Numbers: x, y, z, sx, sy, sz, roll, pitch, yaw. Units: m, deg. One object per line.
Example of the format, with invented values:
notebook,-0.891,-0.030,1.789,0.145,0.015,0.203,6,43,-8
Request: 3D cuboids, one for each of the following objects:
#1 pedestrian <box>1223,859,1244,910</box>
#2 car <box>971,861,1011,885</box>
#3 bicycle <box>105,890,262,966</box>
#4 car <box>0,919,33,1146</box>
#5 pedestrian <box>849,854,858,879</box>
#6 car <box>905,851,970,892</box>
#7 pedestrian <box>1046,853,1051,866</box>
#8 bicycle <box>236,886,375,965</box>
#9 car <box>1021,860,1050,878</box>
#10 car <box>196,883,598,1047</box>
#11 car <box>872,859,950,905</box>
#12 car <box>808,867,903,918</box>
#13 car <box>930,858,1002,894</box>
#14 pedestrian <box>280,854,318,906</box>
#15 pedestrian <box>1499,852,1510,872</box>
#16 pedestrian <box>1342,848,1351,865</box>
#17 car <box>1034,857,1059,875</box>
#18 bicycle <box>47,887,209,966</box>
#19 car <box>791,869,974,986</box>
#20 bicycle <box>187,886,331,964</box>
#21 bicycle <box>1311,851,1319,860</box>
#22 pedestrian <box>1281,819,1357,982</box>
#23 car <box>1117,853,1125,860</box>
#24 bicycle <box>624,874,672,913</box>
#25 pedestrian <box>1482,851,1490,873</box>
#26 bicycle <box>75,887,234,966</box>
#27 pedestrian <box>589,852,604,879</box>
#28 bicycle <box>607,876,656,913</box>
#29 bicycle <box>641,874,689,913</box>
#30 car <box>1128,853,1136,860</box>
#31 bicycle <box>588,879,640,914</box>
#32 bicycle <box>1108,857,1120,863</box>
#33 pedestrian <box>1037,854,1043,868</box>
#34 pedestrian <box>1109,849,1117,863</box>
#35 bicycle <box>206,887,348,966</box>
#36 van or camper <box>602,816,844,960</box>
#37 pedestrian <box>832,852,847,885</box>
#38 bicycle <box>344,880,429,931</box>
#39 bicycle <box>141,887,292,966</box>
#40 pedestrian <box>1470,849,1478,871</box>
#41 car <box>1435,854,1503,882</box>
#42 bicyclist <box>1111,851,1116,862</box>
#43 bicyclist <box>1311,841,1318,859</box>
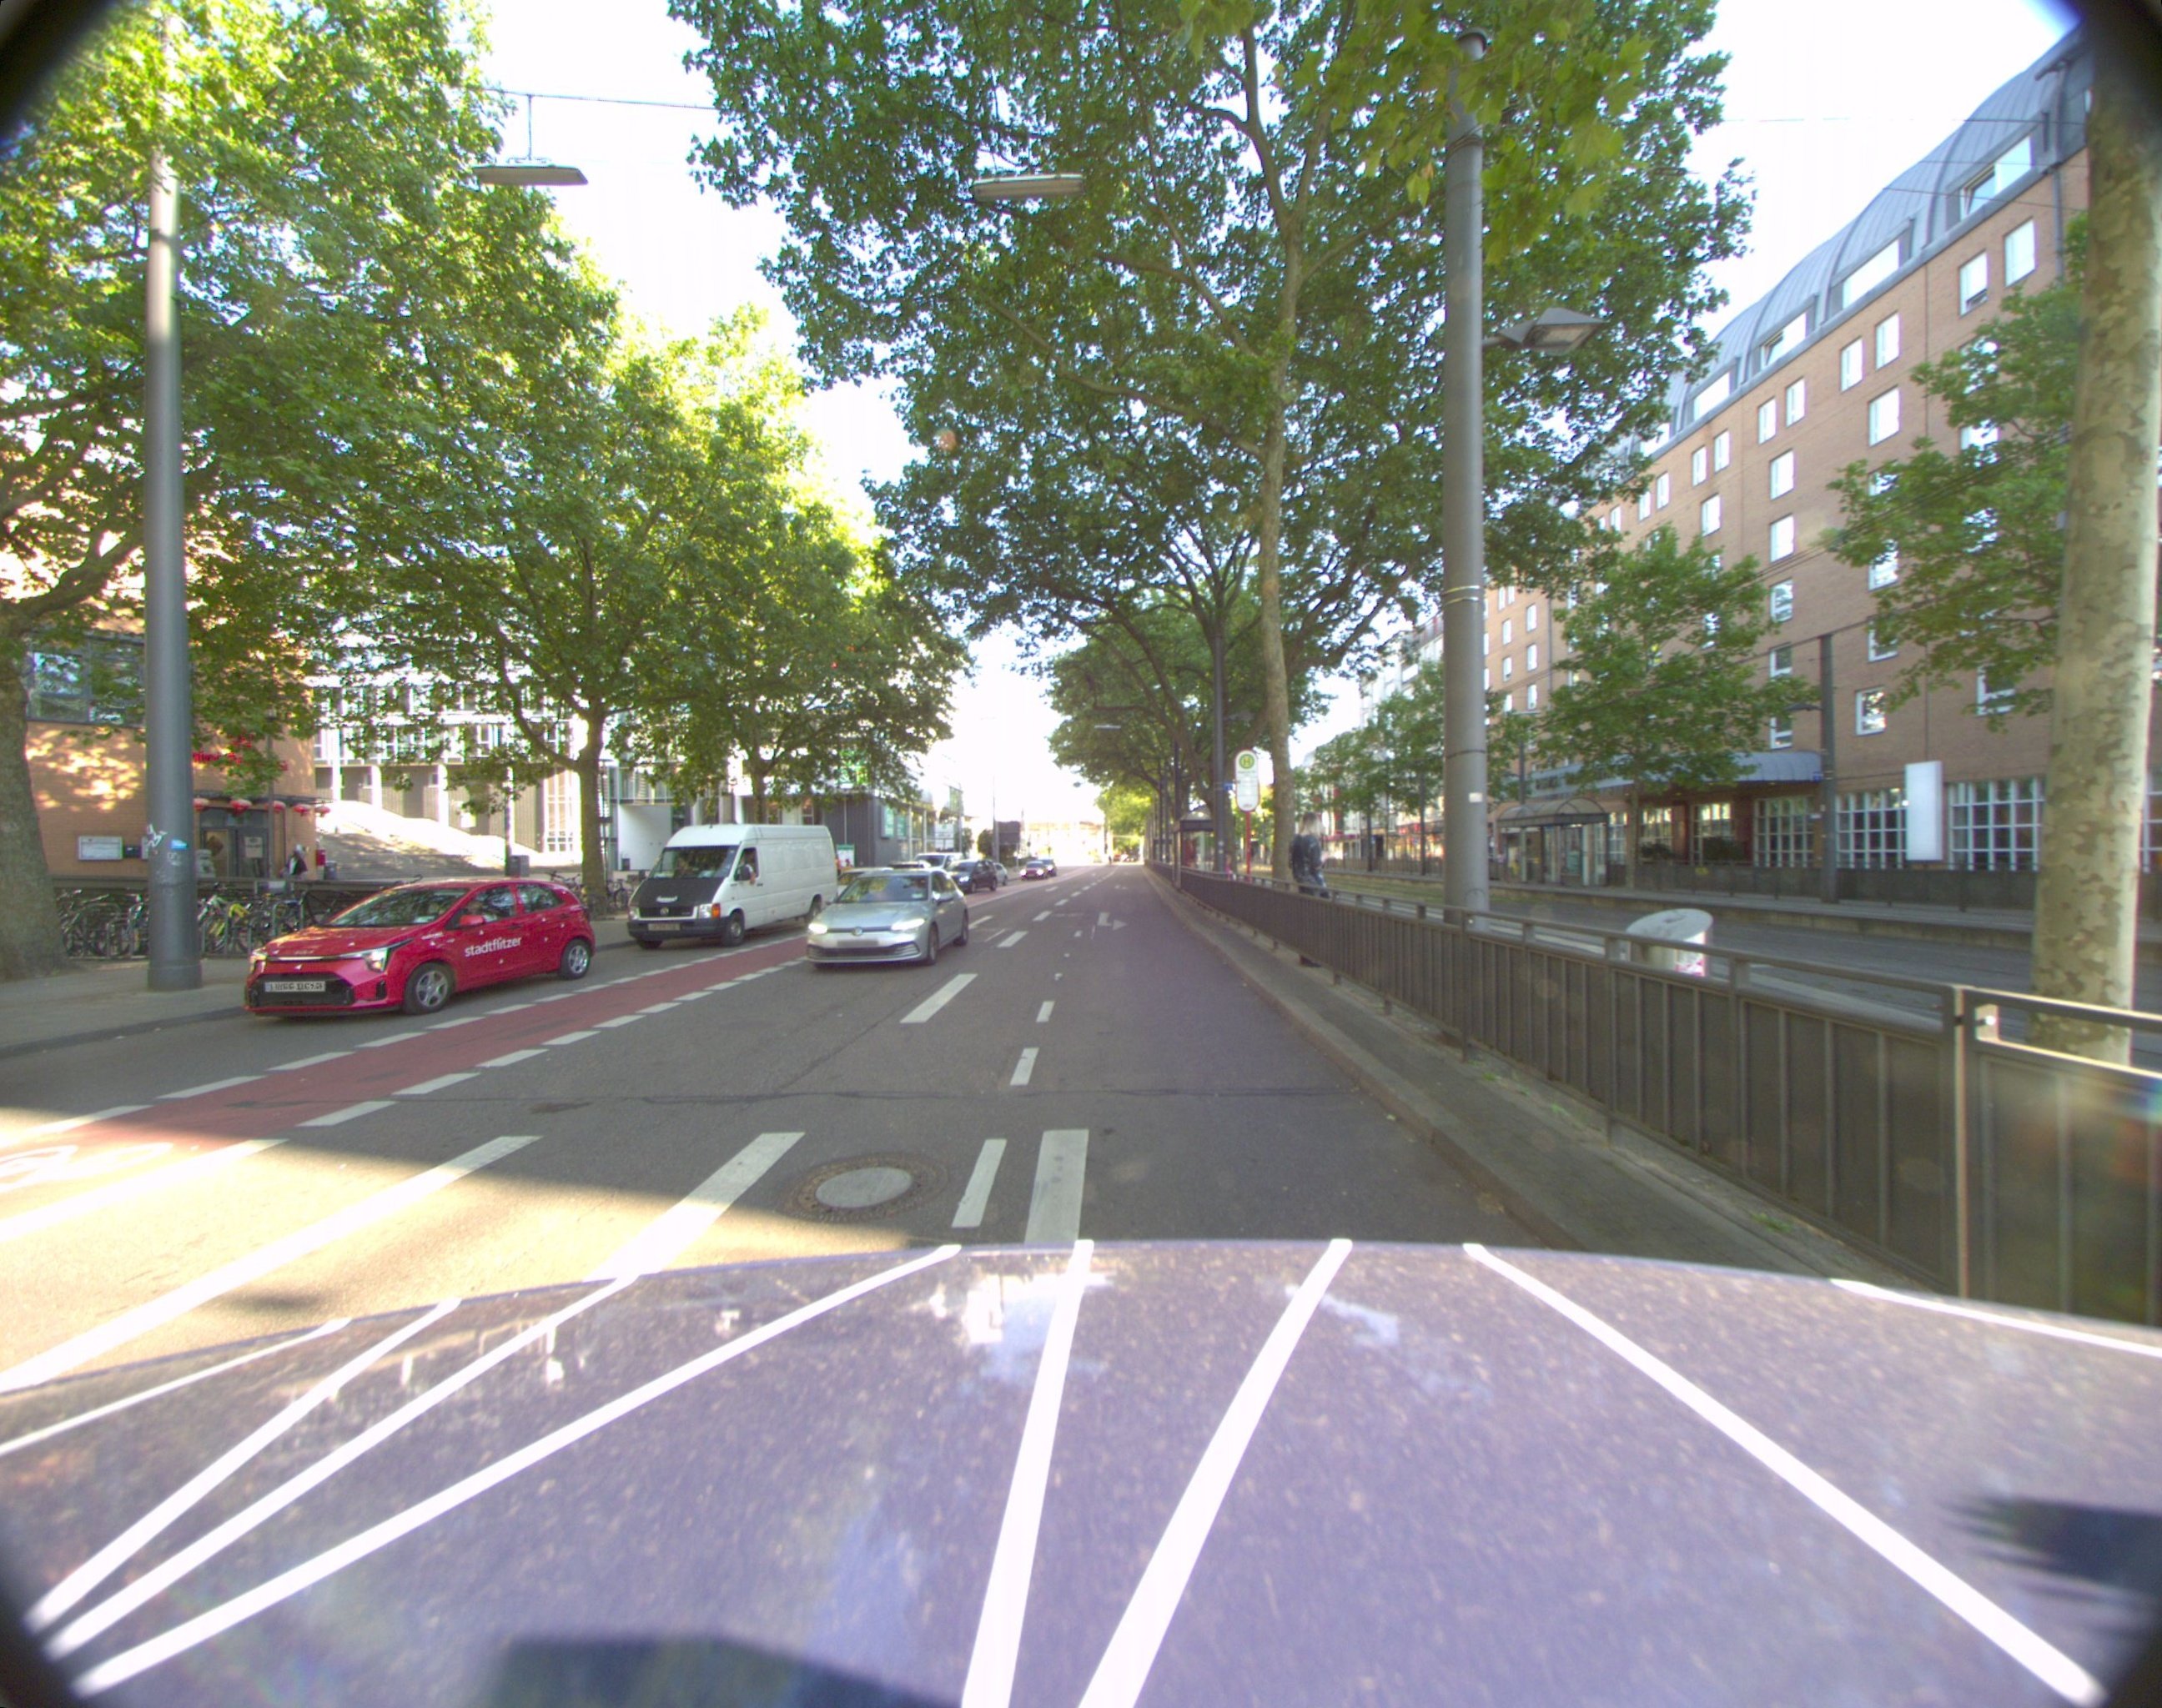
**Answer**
pedestrian,3.932,0.780,19.627,0.500,1.308,0.419,0,1,8
car,-5.554,1.172,47.323,1.801,1.369,4.001,0,0,3
bicycle,-15.426,1.238,13.137,0.485,1.118,1.850,0,0,1
car,-7.972,1.188,2.999,1.743,1.476,4.251,-1,0,0
pedestrian,-12.739,0.678,42.504,0.301,1.367,0.502,-1,1,4
car,-7.533,0.865,40.409,1.965,1.983,4.960,-1,0,7
pedestrian,-4.290,0.710,100.847,0.611,1.644,0.583,-1,1,1
bicycle,-13.318,1.195,13.132,0.482,1.187,1.850,0,0,1
car,-3.549,1.152,60.103,1.801,1.369,4.001,0,0,3
car,-7.949,1.173,9.365,1.606,1.449,3.651,-1,0,0
car,-6.723,1.068,30.519,1.818,1.610,4.229,-1,0,5
car,-7.215,1.194,24.756,1.682,1.420,4.001,-1,0,3
car,-5.537,1.017,37.088,1.964,1.610,4.335,-1,0,14
pedestrian,-30.988,1.027,30.114,0.875,2.025,0.586,0,1,6
pedestrian,30.689,0.589,55.038,0.519,1.427,0.516,0,1,4
pedestrian,31.531,0.300,90.119,0.806,2.002,0.763,-1,1,1
car,-3.002,1.045,67.451,1.801,1.438,4.001,0,0,3
bicycle,-16.387,1.199,13.142,0.435,1.187,1.850,0,0,1
car,-2.976,1.036,12.305,1.733,1.432,4.000,-2,0,2
bicycle,-14.326,1.202,13.328,0.484,1.187,1.850,0,0,1
bicycle,25.657,0.178,83.360,0.451,0.998,1.753,0,0,6
pedestrian,2.850,0.529,9.126,0.623,1.873,0.605,-2,3,-18
car,11.410,0.686,215.992,1.998,2.002,4.001,-1,0,4
bicycle,-14.116,1.262,24.824,0.495,1.187,1.850,0,0,1
pedestrian,28.035,0.518,52.582,0.438,1.511,0.659,0,1,23
bicycle,-15.924,1.205,13.139,0.458,1.187,1.850,0,0,1
pedestrian,-29.041,0.687,45.509,0.719,1.549,0.639,-1,1,-35
bicycle,-14.659,1.307,24.822,0.522,1.088,1.797,0,0,1
bicycle,-13.572,1.270,24.845,0.522,1.187,1.850,0,0,1
car,13.571,0.670,201.657,1.998,2.002,4.001,-1,0,3
bicycle,-15.220,1.366,24.798,0.516,1.027,1.850,0,0,1
bicycle,4.940,0.921,113.250,1.670,0.879,0.581,-1,1,-1
pedestrian,-4.964,0.828,91.515,0.648,1.644,0.643,-1,1,1
pedestrian,4.583,0.240,109.410,0.832,2.002,0.771,-1,1,-44
bicycle,-13.821,1.206,13.138,0.448,1.187,1.850,0,0,1
van or camper,-7.525,0.613,17.075,1.998,2.563,6.575,-2,0,3
pedestrian,-13.170,0.794,41.370,0.627,1.758,0.451,-1,1,2
bicycle,-17.867,1.288,19.595,0.517,1.187,1.790,0,0,1
bicycle,-14.843,1.201,13.128,0.447,1.187,1.850,0,0,1
pedestrian,27.322,0.421,52.806,0.438,1.497,0.659,0,1,23
car,21.784,0.760,42.826,1.760,1.479,4.309,-1,0,2
bicyclist,4.817,0.373,113.230,0.714,1.707,0.673,-1,1,-1
bicyclist,25.607,-0.444,83.381,0.572,1.893,0.813,0,1,6
